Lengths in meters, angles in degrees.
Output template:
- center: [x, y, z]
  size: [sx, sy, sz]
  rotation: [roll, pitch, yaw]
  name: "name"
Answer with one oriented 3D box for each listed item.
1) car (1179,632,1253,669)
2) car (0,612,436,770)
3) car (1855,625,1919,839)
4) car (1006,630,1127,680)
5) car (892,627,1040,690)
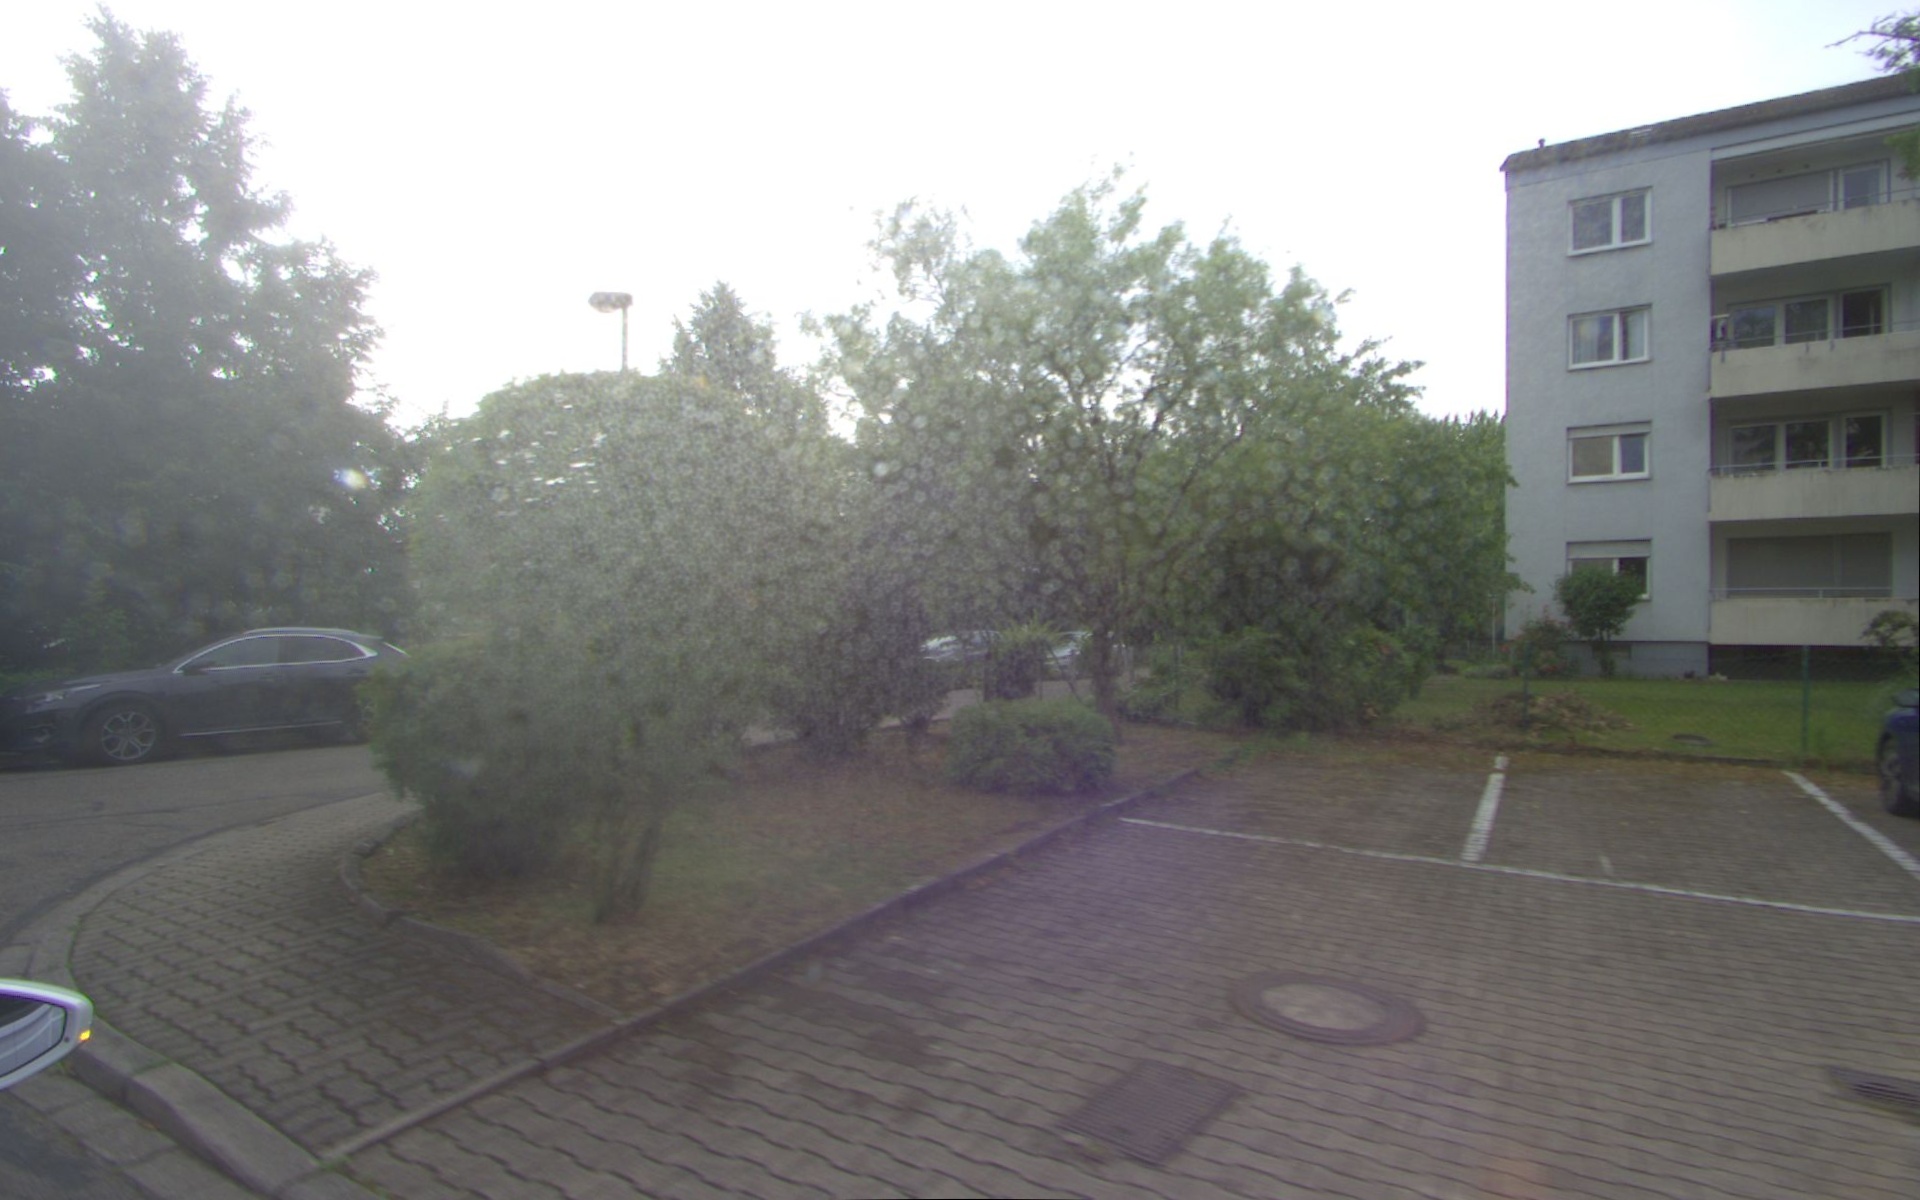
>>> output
- center: [10.769, 2.089, 42.027]
  size: [1.734, 1.443, 3.977]
  rotation: [-3, -3, 34]
  name: "car"
- center: [-8.865, 0.990, 12.105]
  size: [1.725, 1.550, 4.170]
  rotation: [-3, -3, 35]
  name: "car"
- center: [7.618, 0.939, 6.463]
  size: [1.997, 1.530, 3.893]
  rotation: [0, -1, 30]
  name: "car"
- center: [3.379, 1.674, 30.978]
  size: [1.759, 1.446, 4.451]
  rotation: [-3, -3, 35]
  name: "car"
- center: [0.248, 1.506, 26.422]
  size: [1.740, 1.497, 4.279]
  rotation: [-3, -3, 36]
  name: "car"
